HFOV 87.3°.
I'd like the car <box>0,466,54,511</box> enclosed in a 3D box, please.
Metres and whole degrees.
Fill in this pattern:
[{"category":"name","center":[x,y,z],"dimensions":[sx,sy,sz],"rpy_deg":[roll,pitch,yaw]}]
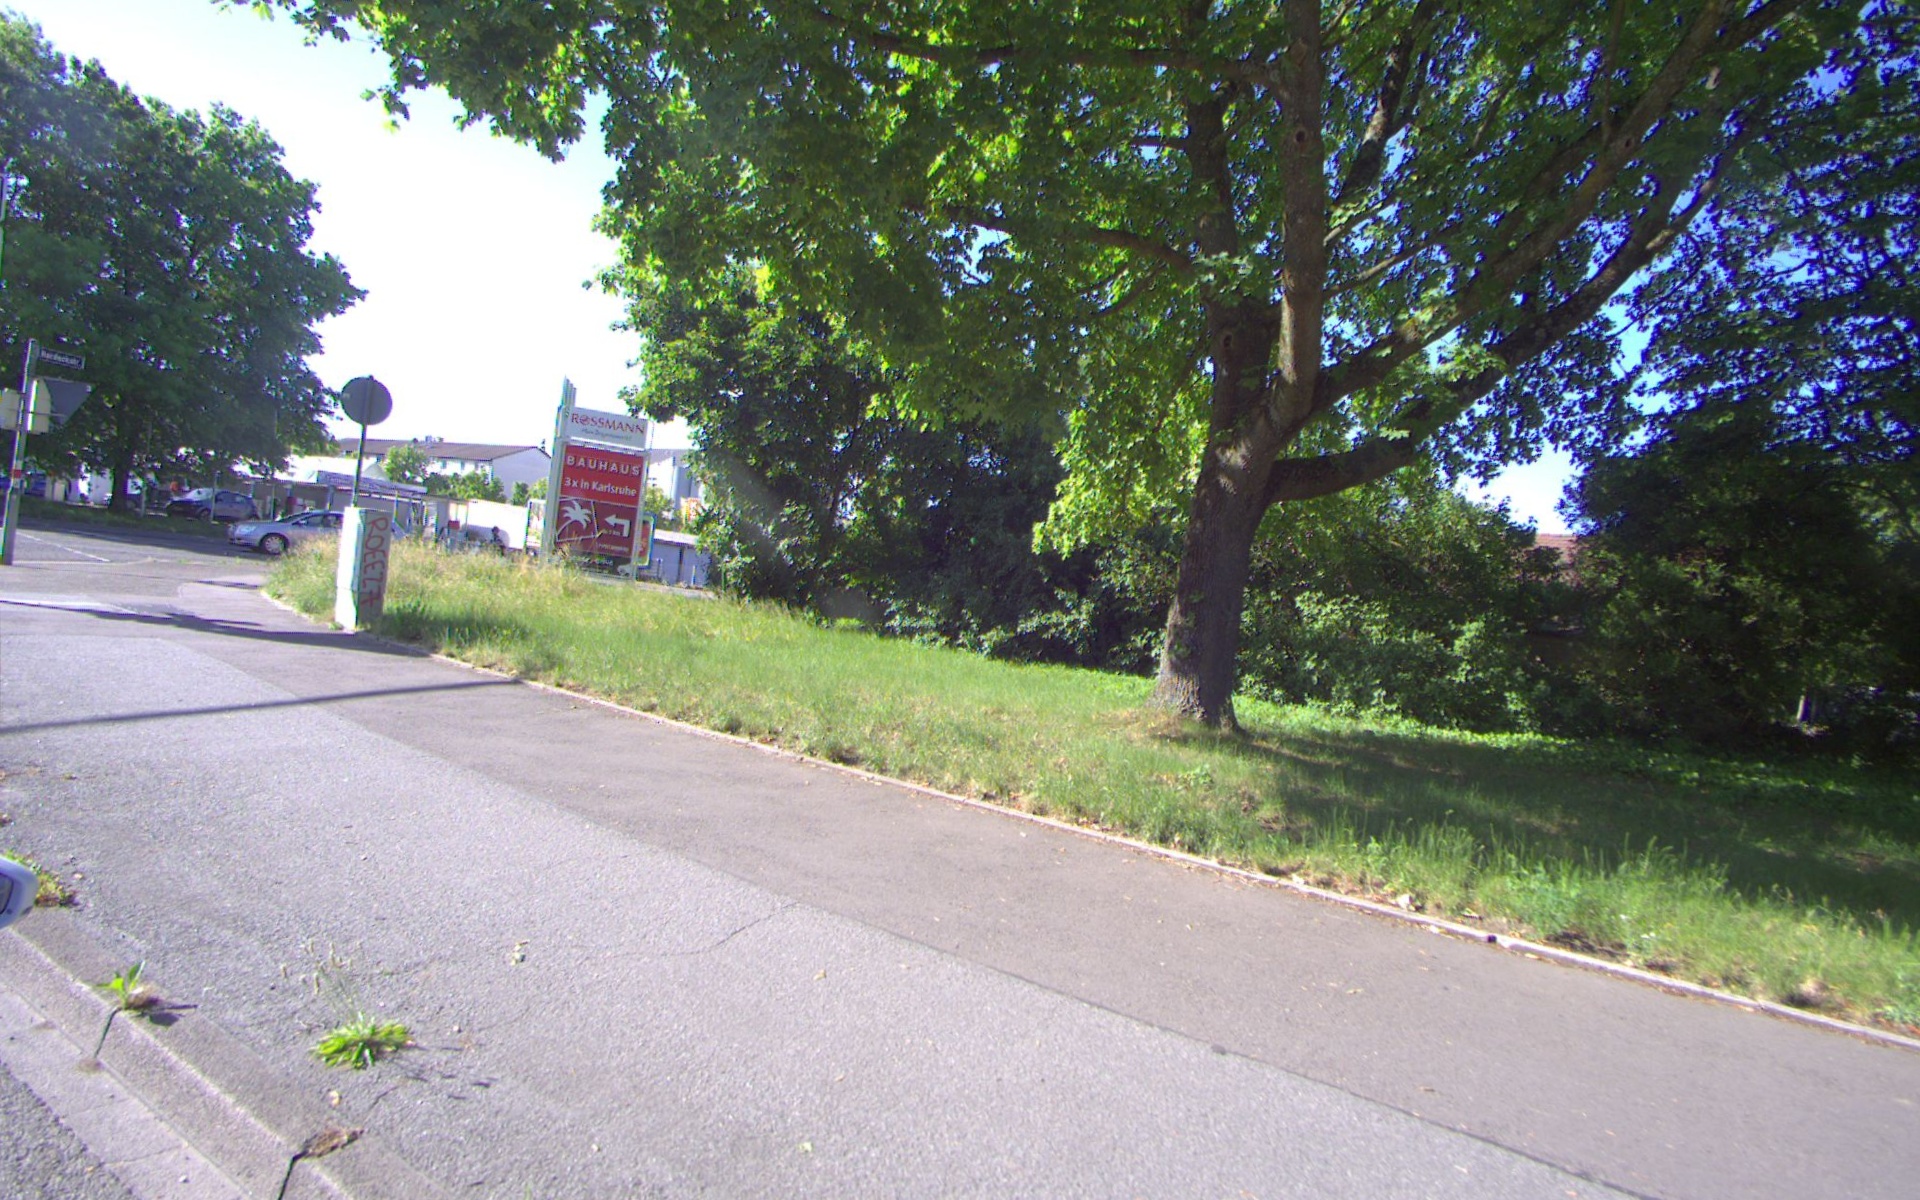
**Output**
[{"category":"car","center":[-44.278,-5.311,46.136],"dimensions":[1.672,1.704,3.729],"rpy_deg":[8,-2,5]}]

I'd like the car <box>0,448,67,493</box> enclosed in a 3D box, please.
[{"category":"car","center":[-47.957,-6.667,50.873],"dimensions":[1.675,1.704,3.722],"rpy_deg":[7,-2,29]}]

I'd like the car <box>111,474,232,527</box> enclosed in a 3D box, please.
[{"category":"car","center":[-34.650,-4.349,44.339],"dimensions":[1.771,1.499,3.854],"rpy_deg":[7,-2,12]}]

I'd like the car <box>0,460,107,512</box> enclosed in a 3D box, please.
[{"category":"car","center":[-41.622,-5.194,46.015],"dimensions":[1.772,1.581,3.851],"rpy_deg":[8,-2,0]}]

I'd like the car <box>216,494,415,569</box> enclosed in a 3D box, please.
[{"category":"car","center":[-19.262,-2.014,30.206],"dimensions":[1.973,1.593,4.610],"rpy_deg":[6,-1,42]}]

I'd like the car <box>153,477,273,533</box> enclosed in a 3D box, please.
[{"category":"car","center":[-32.607,-4.105,44.064],"dimensions":[1.771,1.630,3.854],"rpy_deg":[7,-2,12]}]

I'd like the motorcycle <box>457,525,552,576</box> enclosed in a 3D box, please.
[{"category":"motorcycle","center":[-15.529,-1.669,34.347],"dimensions":[2.718,1.285,0.824],"rpy_deg":[10,-3,-43]}]

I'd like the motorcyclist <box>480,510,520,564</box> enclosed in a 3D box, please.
[{"category":"motorcyclist","center":[-15.634,-2.145,34.181],"dimensions":[0.858,1.699,0.824],"rpy_deg":[9,-2,-42]}]
